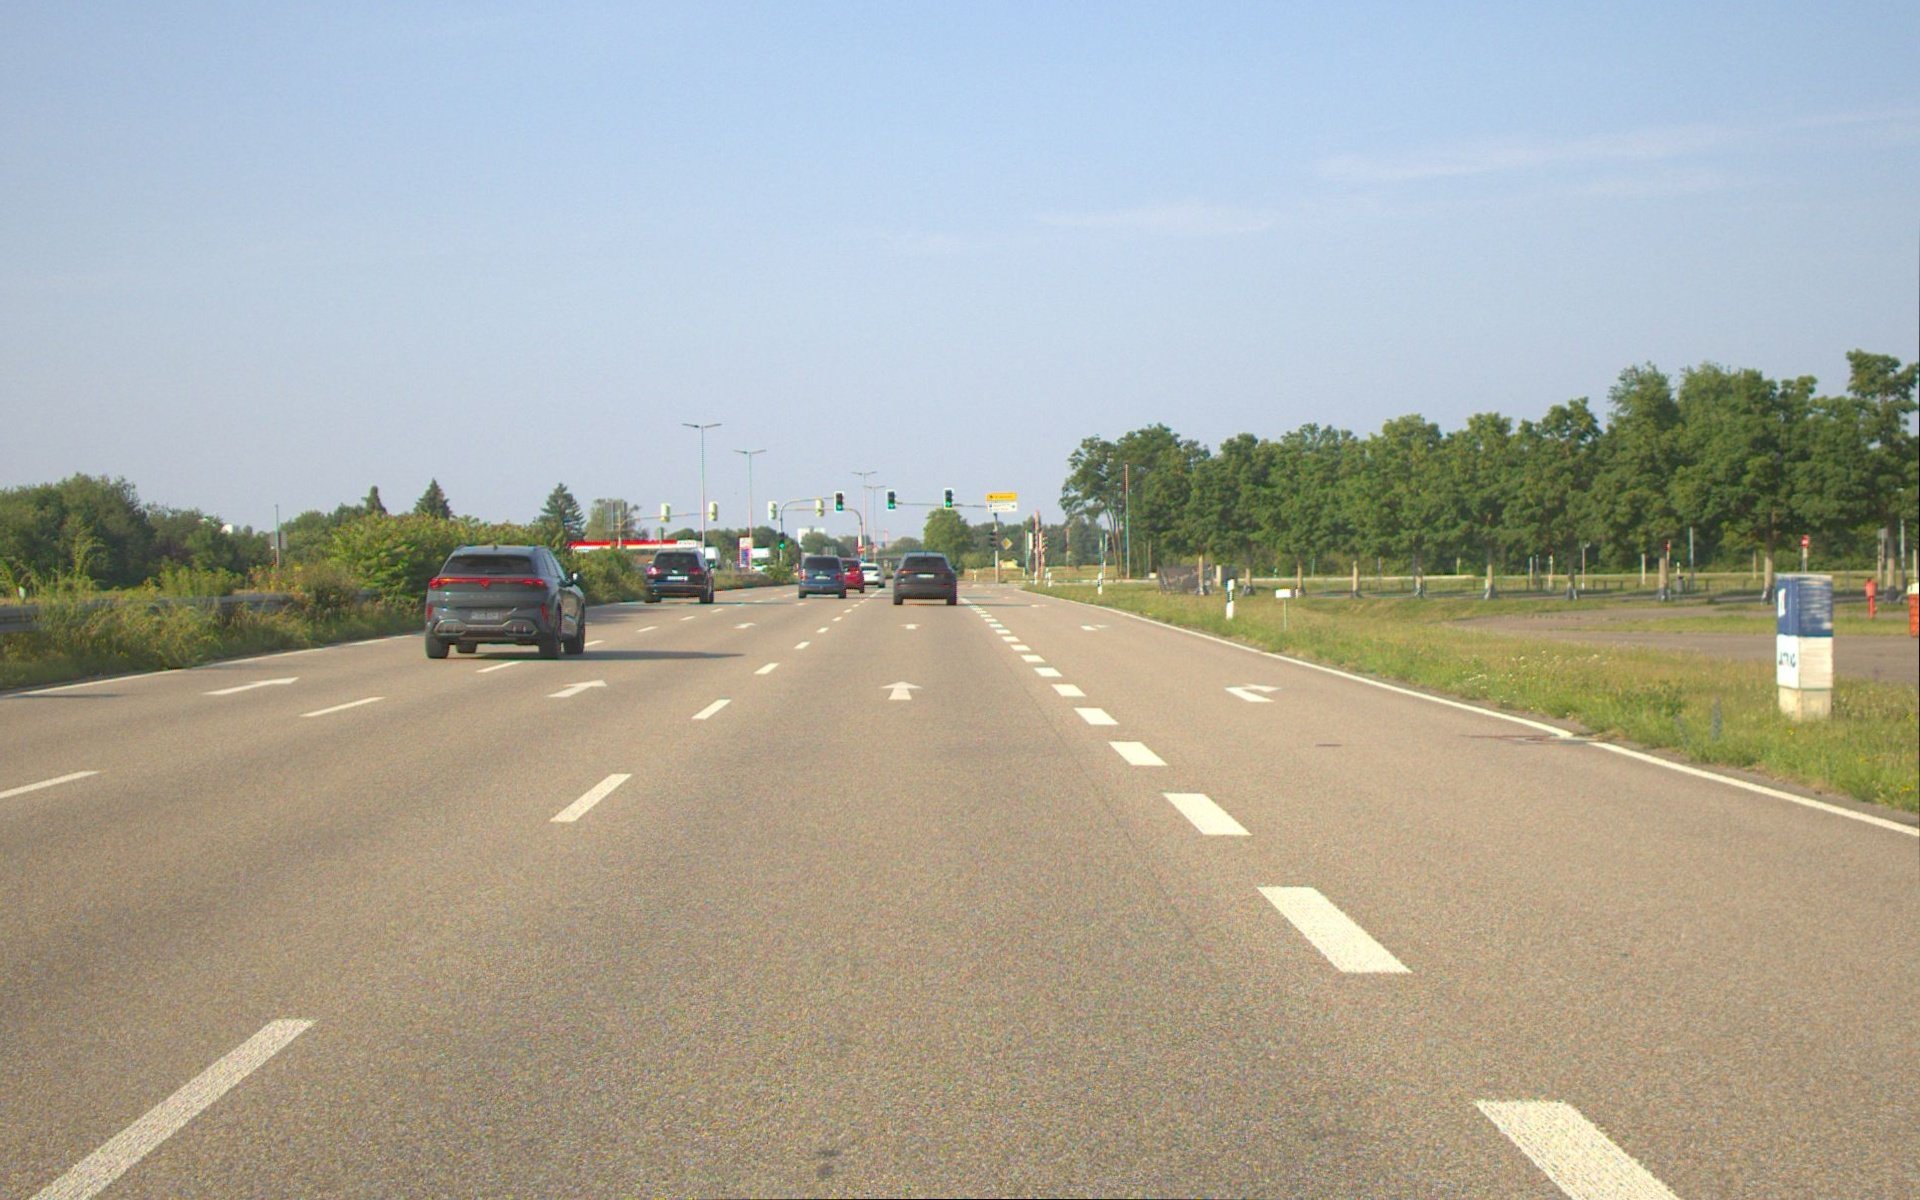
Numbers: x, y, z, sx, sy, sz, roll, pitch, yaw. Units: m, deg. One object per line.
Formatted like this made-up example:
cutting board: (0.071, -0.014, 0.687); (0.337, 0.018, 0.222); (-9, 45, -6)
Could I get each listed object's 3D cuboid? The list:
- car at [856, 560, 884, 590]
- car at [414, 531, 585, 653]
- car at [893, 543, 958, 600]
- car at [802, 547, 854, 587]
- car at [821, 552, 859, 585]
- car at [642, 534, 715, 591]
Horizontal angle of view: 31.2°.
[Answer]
car: (-5.285, -1.439, 202.488); (1.645, 1.722, 3.401); (1, 0, -1)
car: (-6.488, -0.143, 48.868); (1.845, 1.606, 4.401); (2, 1, -1)
car: (-1.092, -0.891, 106.960); (1.932, 1.674, 4.401); (2, 1, -1)
car: (-5.057, -1.278, 132.105); (1.812, 1.458, 4.401); (2, 1, -1)
car: (-5.512, -1.474, 158.468); (1.647, 1.458, 3.981); (2, 1, -1)
car: (-8.782, -1.178, 107.473); (1.932, 1.674, 4.401); (2, 1, -1)
